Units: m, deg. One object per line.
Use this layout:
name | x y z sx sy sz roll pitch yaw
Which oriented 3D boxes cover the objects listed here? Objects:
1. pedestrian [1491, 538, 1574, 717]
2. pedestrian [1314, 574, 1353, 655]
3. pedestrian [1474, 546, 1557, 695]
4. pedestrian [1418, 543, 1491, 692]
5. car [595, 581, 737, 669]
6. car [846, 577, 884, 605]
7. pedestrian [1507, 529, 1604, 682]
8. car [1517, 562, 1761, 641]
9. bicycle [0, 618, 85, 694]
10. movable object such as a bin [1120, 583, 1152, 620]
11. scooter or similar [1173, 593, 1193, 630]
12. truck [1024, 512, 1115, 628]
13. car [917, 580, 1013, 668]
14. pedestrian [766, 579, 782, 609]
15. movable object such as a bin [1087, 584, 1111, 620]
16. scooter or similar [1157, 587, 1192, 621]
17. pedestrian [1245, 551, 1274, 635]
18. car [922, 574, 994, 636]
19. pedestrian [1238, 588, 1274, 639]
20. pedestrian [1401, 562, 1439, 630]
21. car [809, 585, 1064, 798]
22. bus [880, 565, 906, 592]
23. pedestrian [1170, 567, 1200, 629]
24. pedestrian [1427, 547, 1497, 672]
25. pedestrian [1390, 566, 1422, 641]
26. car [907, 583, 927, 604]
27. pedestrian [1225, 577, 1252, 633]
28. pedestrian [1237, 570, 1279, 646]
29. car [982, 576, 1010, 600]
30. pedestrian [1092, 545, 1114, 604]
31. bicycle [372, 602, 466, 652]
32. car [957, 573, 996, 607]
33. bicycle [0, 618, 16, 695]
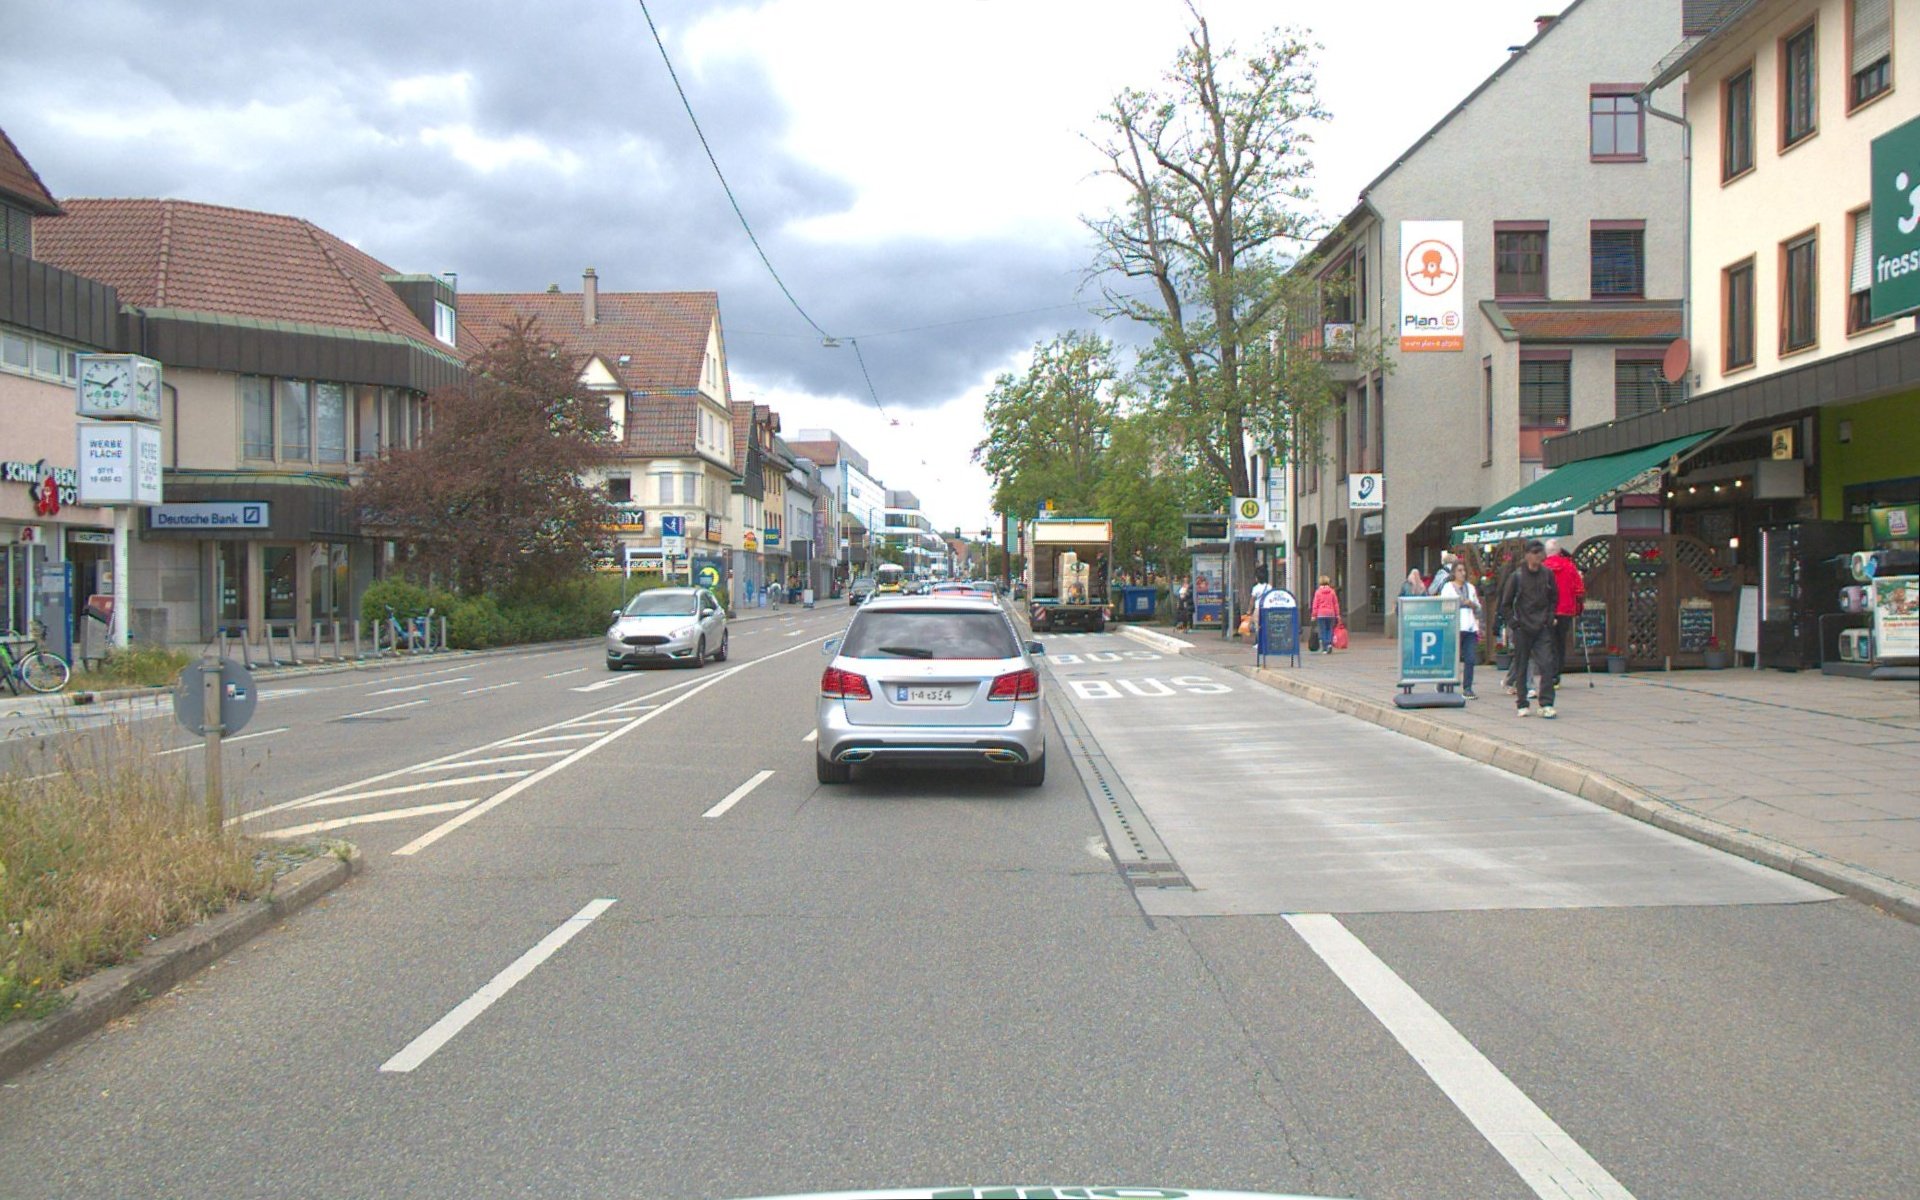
pedestrian | 5.598 0.261 16.197 0.599 1.707 0.615 -1 1 3
pedestrian | 7.515 0.283 33.272 0.658 1.594 0.492 1 2 21
pedestrian | 6.353 0.226 18.938 0.704 1.663 0.615 -1 0 -2
pedestrian | 5.636 0.197 18.875 0.600 1.663 0.615 -1 0 -2
car | -5.590 0.444 32.000 1.835 1.532 4.344 -2 0 1
car | -6.432 -0.628 112.795 2.026 1.768 4.695 -2 1 3
pedestrian | 7.176 0.069 19.964 0.779 1.772 0.781 -2 -1 -5
car | 14.578 0.013 35.713 4.507 1.648 1.881 0 0 5
bicycle | -14.464 0.845 25.091 1.980 1.109 0.648 -1 1 -9
movable object such as a bin | 6.692 0.044 62.924 1.119 1.363 1.376 -1 1 3
scooter or similar | 6.060 0.314 44.985 0.381 0.975 0.350 -1 1 -40
truck | 3.611 -1.012 56.681 2.633 3.623 9.768 0 1 1
car | 0.145 0.479 31.799 1.718 1.547 4.000 -1 -1 1
pedestrian | -10.409 -0.356 92.525 0.801 1.663 0.979 2 0 -4
movable object such as a bin | 5.304 0.068 63.156 0.863 1.363 1.086 -1 0 3
scooter or similar | 7.750 0.131 59.723 1.153 1.217 0.459 -1 0 -8
pedestrian | 7.564 -0.188 41.717 0.600 2.082 0.588 -2 0 14
car | -0.006 0.116 47.749 1.952 1.713 4.001 0 1 1
pedestrian | 7.019 0.318 39.212 0.698 1.186 0.587 0 1 -6
pedestrian | 11.338 -0.113 40.766 0.712 1.663 0.614 0 1 -8
car | -0.190 0.643 13.909 1.836 1.532 4.000 0 0 -1
bus | -8.023 -2.553 197.759 2.718 3.220 5.934 0 1 2
pedestrian | 6.168 -0.046 45.376 0.527 1.663 0.584 2 1 -23
pedestrian | 7.332 0.145 24.170 0.669 1.772 0.781 -2 -1 -4
pedestrian | 9.939 0.072 36.866 0.574 1.663 0.615 0 1 2
car | -3.383 -0.537 129.649 1.538 1.567 2.960 2 1 -1
pedestrian | 7.208 0.132 42.765 0.600 1.425 0.588 -2 0 14
pedestrian | 6.650 0.171 36.941 0.604 1.663 0.789 -1 1 -21
car | 2.646 -0.906 121.038 1.952 1.713 4.001 0 1 1
pedestrian | 4.412 -0.784 51.007 0.601 1.811 0.587 -1 -1 -2
bicycle | -12.582 0.618 38.532 1.980 1.109 0.648 -1 1 -9
car | 0.888 -0.512 85.753 1.952 1.713 4.001 0 1 1
bicycle | -15.027 0.841 24.208 1.980 1.109 0.648 -1 1 -9
